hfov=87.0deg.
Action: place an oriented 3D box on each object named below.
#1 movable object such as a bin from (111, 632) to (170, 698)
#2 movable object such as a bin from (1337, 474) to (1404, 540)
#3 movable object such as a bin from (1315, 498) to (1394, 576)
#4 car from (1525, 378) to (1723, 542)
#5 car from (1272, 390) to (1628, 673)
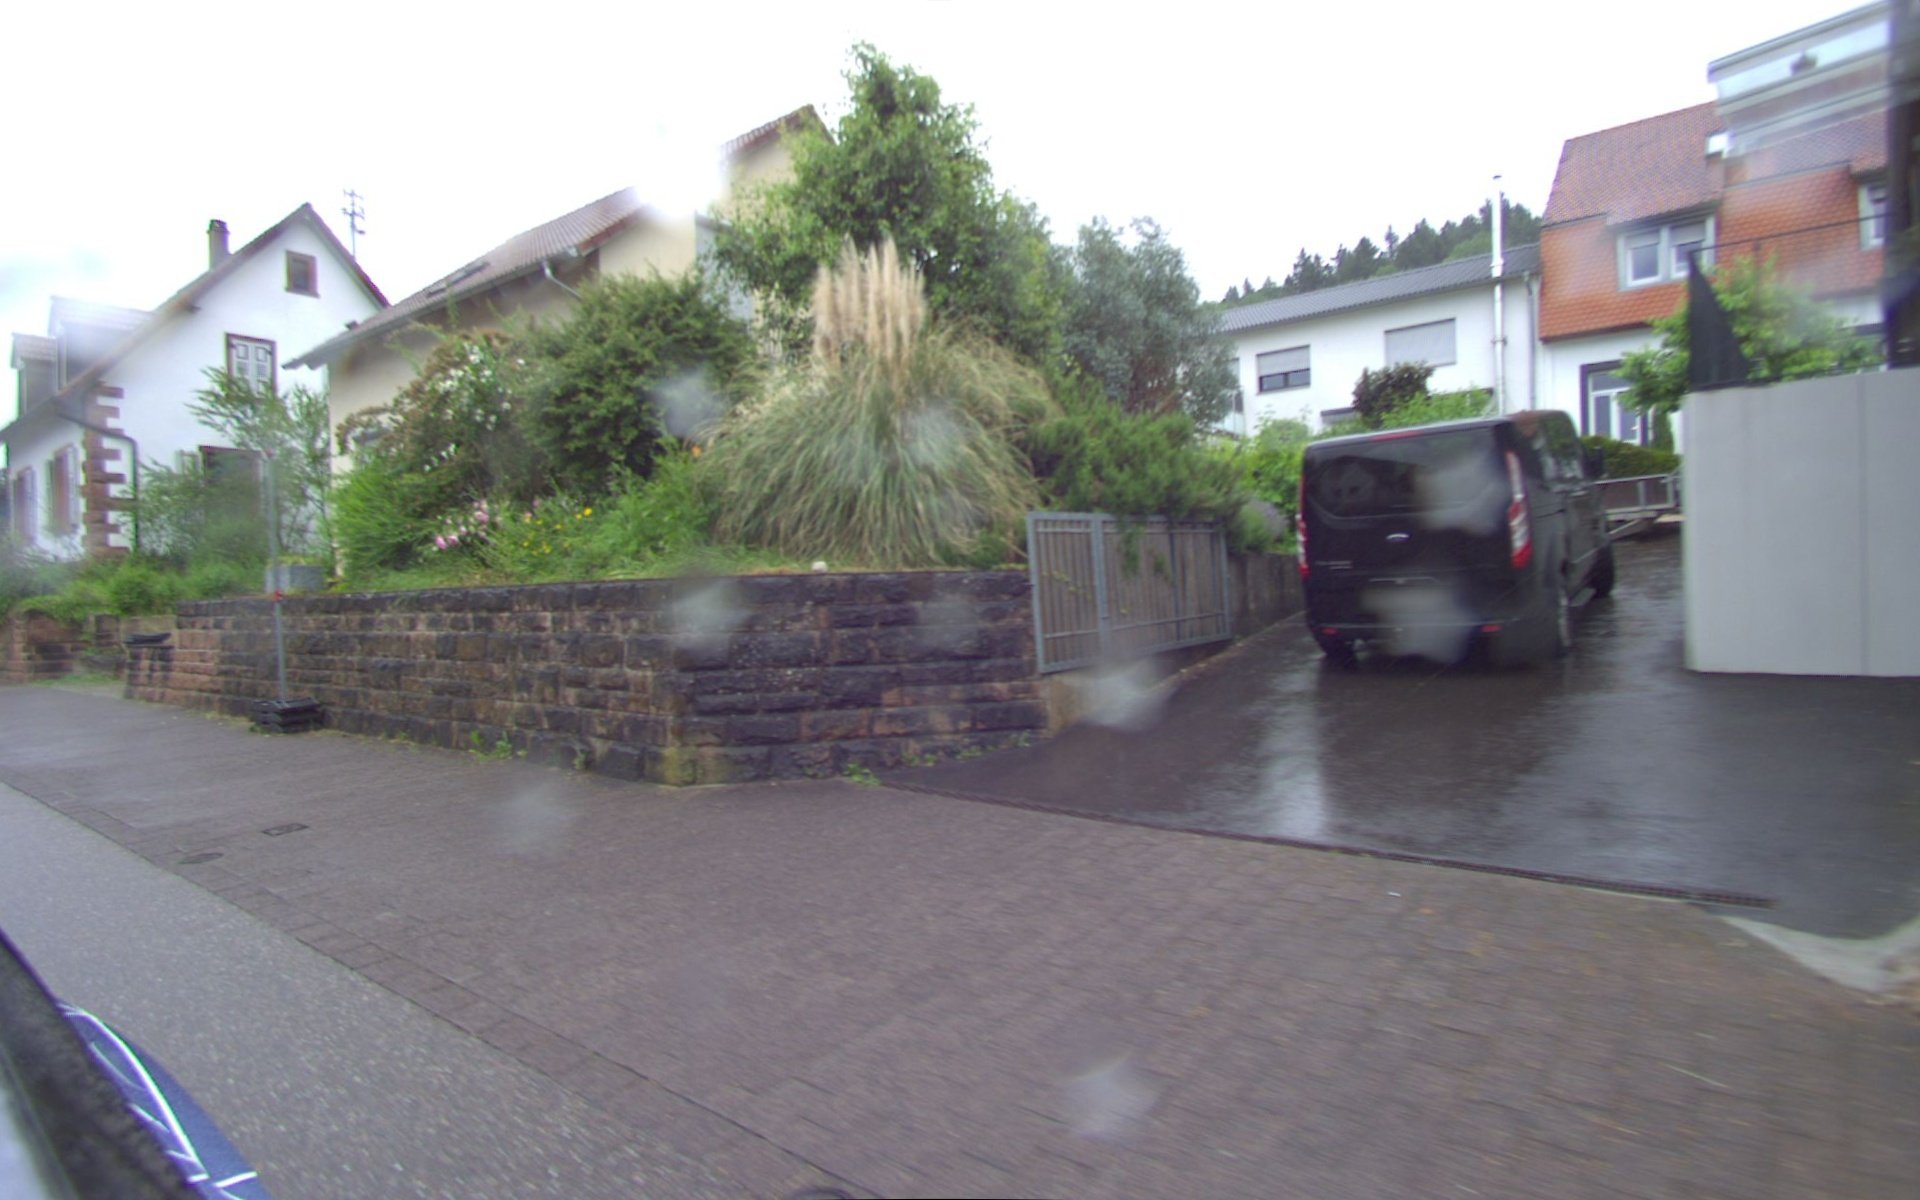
[{"bbox_3d":[-12.498,0.979,15.437,0.543,0.937,0.533,-1,2,35],"label":"movable object such as a bin"},{"bbox_3d":[7.124,-1.607,17.548,0.831,1.043,0.823,0,8,40],"label":"movable object such as a bin"},{"bbox_3d":[5.959,-0.946,15.263,0.831,1.043,0.823,-1,8,40],"label":"movable object such as a bin"},{"bbox_3d":[9.896,-2.114,14.944,1.998,1.978,3.951,0,9,40],"label":"car"},{"bbox_3d":[4.649,-0.774,9.249,1.998,1.978,3.951,0,9,40],"label":"car"}]
